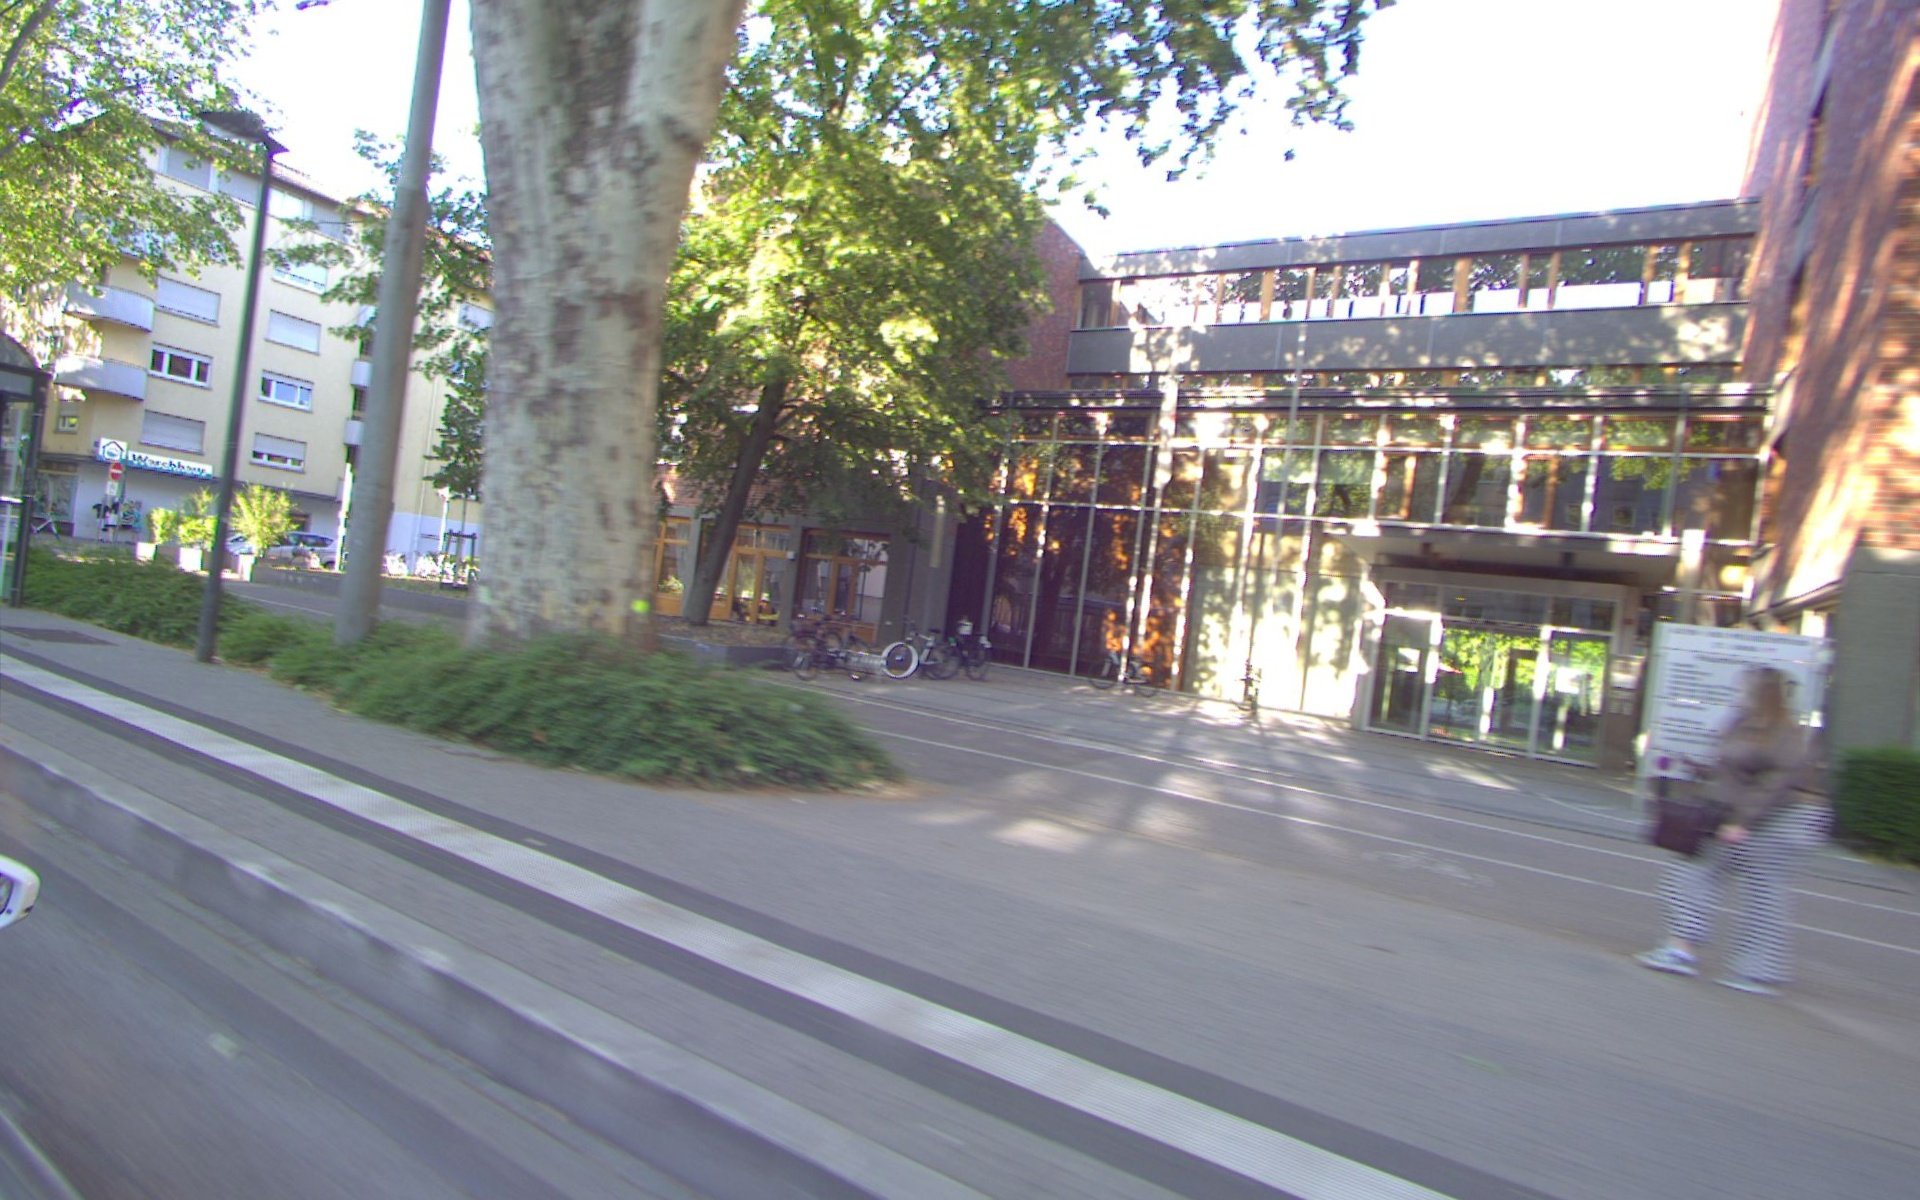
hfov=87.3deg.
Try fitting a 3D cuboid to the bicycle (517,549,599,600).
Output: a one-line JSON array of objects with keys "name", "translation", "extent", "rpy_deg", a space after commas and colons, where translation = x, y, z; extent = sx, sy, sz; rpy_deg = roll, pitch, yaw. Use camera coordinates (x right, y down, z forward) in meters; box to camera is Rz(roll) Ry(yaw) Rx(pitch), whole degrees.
[{"name": "bicycle", "translation": [-10.987, -0.686, 27.550], "extent": [1.921, 1.171, 0.565], "rpy_deg": [6, 1, -43]}]

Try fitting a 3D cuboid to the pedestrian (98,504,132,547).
[{"name": "pedestrian", "translation": [-33.127, -2.899, 39.450], "extent": [0.692, 1.558, 0.688], "rpy_deg": [7, 0, -18]}]

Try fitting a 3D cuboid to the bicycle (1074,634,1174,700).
[{"name": "bicycle", "translation": [3.592, 1.465, 22.167], "extent": [2.009, 1.171, 0.704], "rpy_deg": [7, 2, 41]}]

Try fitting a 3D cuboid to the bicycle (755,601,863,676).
[{"name": "bicycle", "translation": [-2.557, 0.676, 17.337], "extent": [0.563, 1.171, 2.032], "rpy_deg": [7, 1, 32]}]

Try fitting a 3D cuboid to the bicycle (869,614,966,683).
[{"name": "bicycle", "translation": [-0.756, 0.919, 18.798], "extent": [0.563, 1.171, 2.030], "rpy_deg": [7, 1, 36]}]

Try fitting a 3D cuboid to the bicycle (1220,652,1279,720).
[{"name": "bicycle", "translation": [5.873, 1.719, 20.526], "extent": [0.719, 1.171, 1.950], "rpy_deg": [6, 1, 6]}]

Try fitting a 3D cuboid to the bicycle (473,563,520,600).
[{"name": "bicycle", "translation": [-17.084, -0.692, 37.047], "extent": [1.669, 1.171, 0.661], "rpy_deg": [7, 2, 31]}]

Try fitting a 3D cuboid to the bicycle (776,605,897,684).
[{"name": "bicycle", "translation": [-1.998, 0.756, 16.601], "extent": [0.564, 1.171, 2.027], "rpy_deg": [7, 1, 41]}]

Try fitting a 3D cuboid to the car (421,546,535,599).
[{"name": "car", "translation": [-20.278, -1.129, 42.455], "extent": [1.835, 1.713, 3.867], "rpy_deg": [7, -1, 31]}]

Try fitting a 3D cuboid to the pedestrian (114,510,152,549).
[{"name": "pedestrian", "translation": [-33.405, -2.838, 40.648], "extent": [0.755, 1.432, 0.842], "rpy_deg": [7, 0, 23]}]

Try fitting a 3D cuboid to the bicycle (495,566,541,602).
[{"name": "bicycle", "translation": [-16.468, -0.596, 37.461], "extent": [1.668, 1.171, 0.563], "rpy_deg": [7, 2, 27]}]

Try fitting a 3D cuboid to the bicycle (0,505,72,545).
[{"name": "bicycle", "translation": [-32.909, -2.656, 35.835], "extent": [0.731, 1.171, 1.797], "rpy_deg": [6, 1, 10]}]

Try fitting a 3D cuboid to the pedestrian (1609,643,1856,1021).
[{"name": "pedestrian", "translation": [4.032, 1.130, 5.245], "extent": [0.759, 1.680, 0.912], "rpy_deg": [7, 0, 45]}]

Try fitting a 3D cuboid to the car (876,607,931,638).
[{"name": "car", "translation": [-3.901, 1.598, 70.432], "extent": [1.835, 1.713, 3.867], "rpy_deg": [7, -1, 31]}]

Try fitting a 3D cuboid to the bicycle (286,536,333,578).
[{"name": "bicycle", "translation": [-20.743, -1.371, 32.085], "extent": [1.671, 1.171, 0.600], "rpy_deg": [7, 2, 35]}]

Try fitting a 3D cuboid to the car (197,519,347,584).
[{"name": "car", "translation": [-24.216, -1.678, 35.547], "extent": [1.835, 1.713, 3.867], "rpy_deg": [7, -1, 31]}]

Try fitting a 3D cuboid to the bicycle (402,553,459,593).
[{"name": "bicycle", "translation": [-18.366, -0.945, 34.878], "extent": [2.017, 1.171, 0.731], "rpy_deg": [7, 1, 32]}]

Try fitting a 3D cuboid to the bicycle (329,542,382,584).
[{"name": "bicycle", "translation": [-19.659, -1.206, 32.703], "extent": [1.668, 1.171, 0.601], "rpy_deg": [7, 2, 27]}]

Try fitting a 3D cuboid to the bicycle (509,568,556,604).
[{"name": "bicycle", "translation": [-16.168, -0.534, 38.037], "extent": [1.666, 1.171, 0.521], "rpy_deg": [6, 2, 21]}]

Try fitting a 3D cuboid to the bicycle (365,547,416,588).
[{"name": "bicycle", "translation": [-19.179, -1.098, 33.865], "extent": [1.950, 1.171, 0.636], "rpy_deg": [7, 2, 34]}]

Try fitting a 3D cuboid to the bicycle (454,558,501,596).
[{"name": "bicycle", "translation": [-17.481, -0.836, 36.445], "extent": [1.669, 1.171, 0.661], "rpy_deg": [7, 2, 31]}]

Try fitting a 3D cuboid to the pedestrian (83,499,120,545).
[{"name": "pedestrian", "translation": [-34.081, -3.094, 39.944], "extent": [0.649, 1.703, 0.703], "rpy_deg": [7, 0, 4]}]

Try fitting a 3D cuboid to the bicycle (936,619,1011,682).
[{"name": "bicycle", "translation": [0.294, 1.044, 20.455], "extent": [0.563, 1.171, 1.676], "rpy_deg": [7, 1, 37]}]

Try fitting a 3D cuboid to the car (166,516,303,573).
[{"name": "car", "translation": [-28.488, -2.136, 39.629], "extent": [1.835, 1.571, 3.867], "rpy_deg": [10, 1, 31]}]

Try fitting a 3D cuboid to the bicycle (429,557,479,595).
[{"name": "bicycle", "translation": [-17.990, -0.863, 35.758], "extent": [1.820, 1.171, 0.661], "rpy_deg": [7, 2, 31]}]
